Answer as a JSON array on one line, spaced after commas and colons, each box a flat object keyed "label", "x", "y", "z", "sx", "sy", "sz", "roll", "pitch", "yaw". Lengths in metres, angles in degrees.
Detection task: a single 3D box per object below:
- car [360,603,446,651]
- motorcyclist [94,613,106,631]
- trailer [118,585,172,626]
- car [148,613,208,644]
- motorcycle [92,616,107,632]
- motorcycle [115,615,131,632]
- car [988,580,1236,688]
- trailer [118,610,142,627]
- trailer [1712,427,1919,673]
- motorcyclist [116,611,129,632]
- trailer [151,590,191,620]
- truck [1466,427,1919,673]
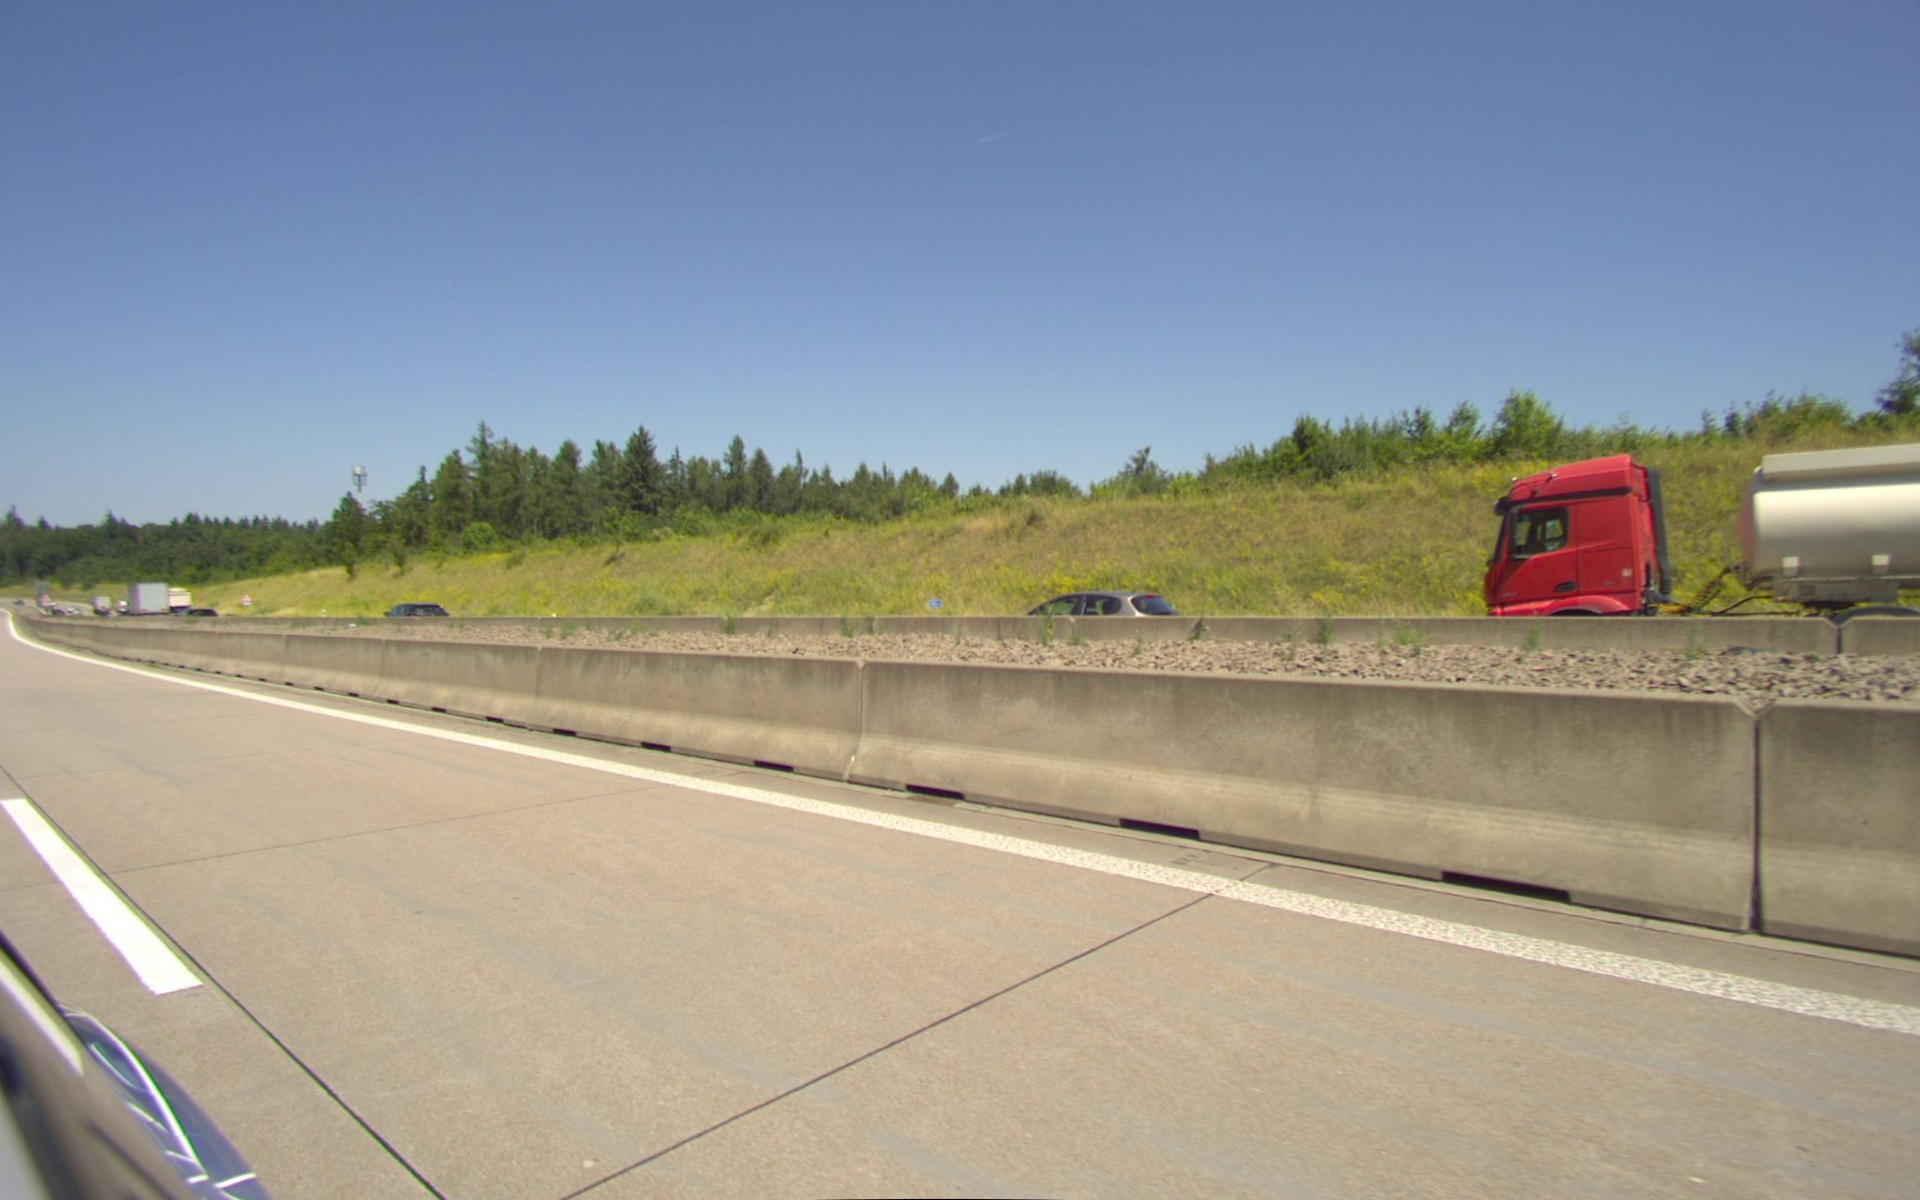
[{"label": "car", "x": -22.337, "y": 1.047, "z": 40.515, "sx": 3.999, "sy": 1.810, "sz": 1.801, "roll": -1, "pitch": 0, "yaw": 42}, {"label": "motorcyclist", "x": -91.049, "y": 2.356, "z": 107.114, "sx": 0.809, "sy": 1.888, "sz": 1.493, "roll": -1, "pitch": 0, "yaw": -45}, {"label": "trailer", "x": -86.355, "y": 0.583, "z": 107.106, "sx": 3.124, "sy": 3.961, "sz": 13.879, "roll": -4, "pitch": 2, "yaw": -44}, {"label": "car", "x": -43.329, "y": 1.564, "z": 56.056, "sx": 4.000, "sy": 1.597, "sz": 1.972, "roll": -1, "pitch": 0, "yaw": 43}, {"label": "motorcycle", "x": -91.057, "y": 2.531, "z": 107.119, "sx": 0.996, "sy": 1.561, "sz": 2.485, "roll": -1, "pitch": 0, "yaw": -45}, {"label": "motorcycle", "x": -72.541, "y": 2.040, "z": 87.715, "sx": 0.815, "sy": 1.382, "sz": 2.359, "roll": -1, "pitch": 0, "yaw": -45}, {"label": "car", "x": 2.668, "y": 0.570, "z": 18.256, "sx": 3.998, "sy": 1.730, "sz": 1.973, "roll": -1, "pitch": -1, "yaw": 41}, {"label": "trailer", "x": -140.511, "y": 3.137, "z": 171.313, "sx": 2.576, "sy": 2.651, "sz": 7.788, "roll": -3, "pitch": 1, "yaw": -43}, {"label": "trailer", "x": 16.370, "y": -0.757, "z": 11.978, "sx": 11.823, "sy": 3.238, "sz": 2.904, "roll": -1, "pitch": 2, "yaw": 40}, {"label": "motorcyclist", "x": -72.563, "y": 1.863, "z": 87.693, "sx": 0.685, "sy": 1.722, "sz": 1.526, "roll": -1, "pitch": 0, "yaw": -45}, {"label": "trailer", "x": -94.982, "y": 0.597, "z": 121.758, "sx": 2.694, "sy": 3.438, "sz": 8.963, "roll": -4, "pitch": 2, "yaw": -44}, {"label": "truck", "x": 11.622, "y": -0.694, "z": 16.031, "sx": 5.901, "sy": 3.238, "sz": 2.904, "roll": -1, "pitch": 2, "yaw": 40}]
